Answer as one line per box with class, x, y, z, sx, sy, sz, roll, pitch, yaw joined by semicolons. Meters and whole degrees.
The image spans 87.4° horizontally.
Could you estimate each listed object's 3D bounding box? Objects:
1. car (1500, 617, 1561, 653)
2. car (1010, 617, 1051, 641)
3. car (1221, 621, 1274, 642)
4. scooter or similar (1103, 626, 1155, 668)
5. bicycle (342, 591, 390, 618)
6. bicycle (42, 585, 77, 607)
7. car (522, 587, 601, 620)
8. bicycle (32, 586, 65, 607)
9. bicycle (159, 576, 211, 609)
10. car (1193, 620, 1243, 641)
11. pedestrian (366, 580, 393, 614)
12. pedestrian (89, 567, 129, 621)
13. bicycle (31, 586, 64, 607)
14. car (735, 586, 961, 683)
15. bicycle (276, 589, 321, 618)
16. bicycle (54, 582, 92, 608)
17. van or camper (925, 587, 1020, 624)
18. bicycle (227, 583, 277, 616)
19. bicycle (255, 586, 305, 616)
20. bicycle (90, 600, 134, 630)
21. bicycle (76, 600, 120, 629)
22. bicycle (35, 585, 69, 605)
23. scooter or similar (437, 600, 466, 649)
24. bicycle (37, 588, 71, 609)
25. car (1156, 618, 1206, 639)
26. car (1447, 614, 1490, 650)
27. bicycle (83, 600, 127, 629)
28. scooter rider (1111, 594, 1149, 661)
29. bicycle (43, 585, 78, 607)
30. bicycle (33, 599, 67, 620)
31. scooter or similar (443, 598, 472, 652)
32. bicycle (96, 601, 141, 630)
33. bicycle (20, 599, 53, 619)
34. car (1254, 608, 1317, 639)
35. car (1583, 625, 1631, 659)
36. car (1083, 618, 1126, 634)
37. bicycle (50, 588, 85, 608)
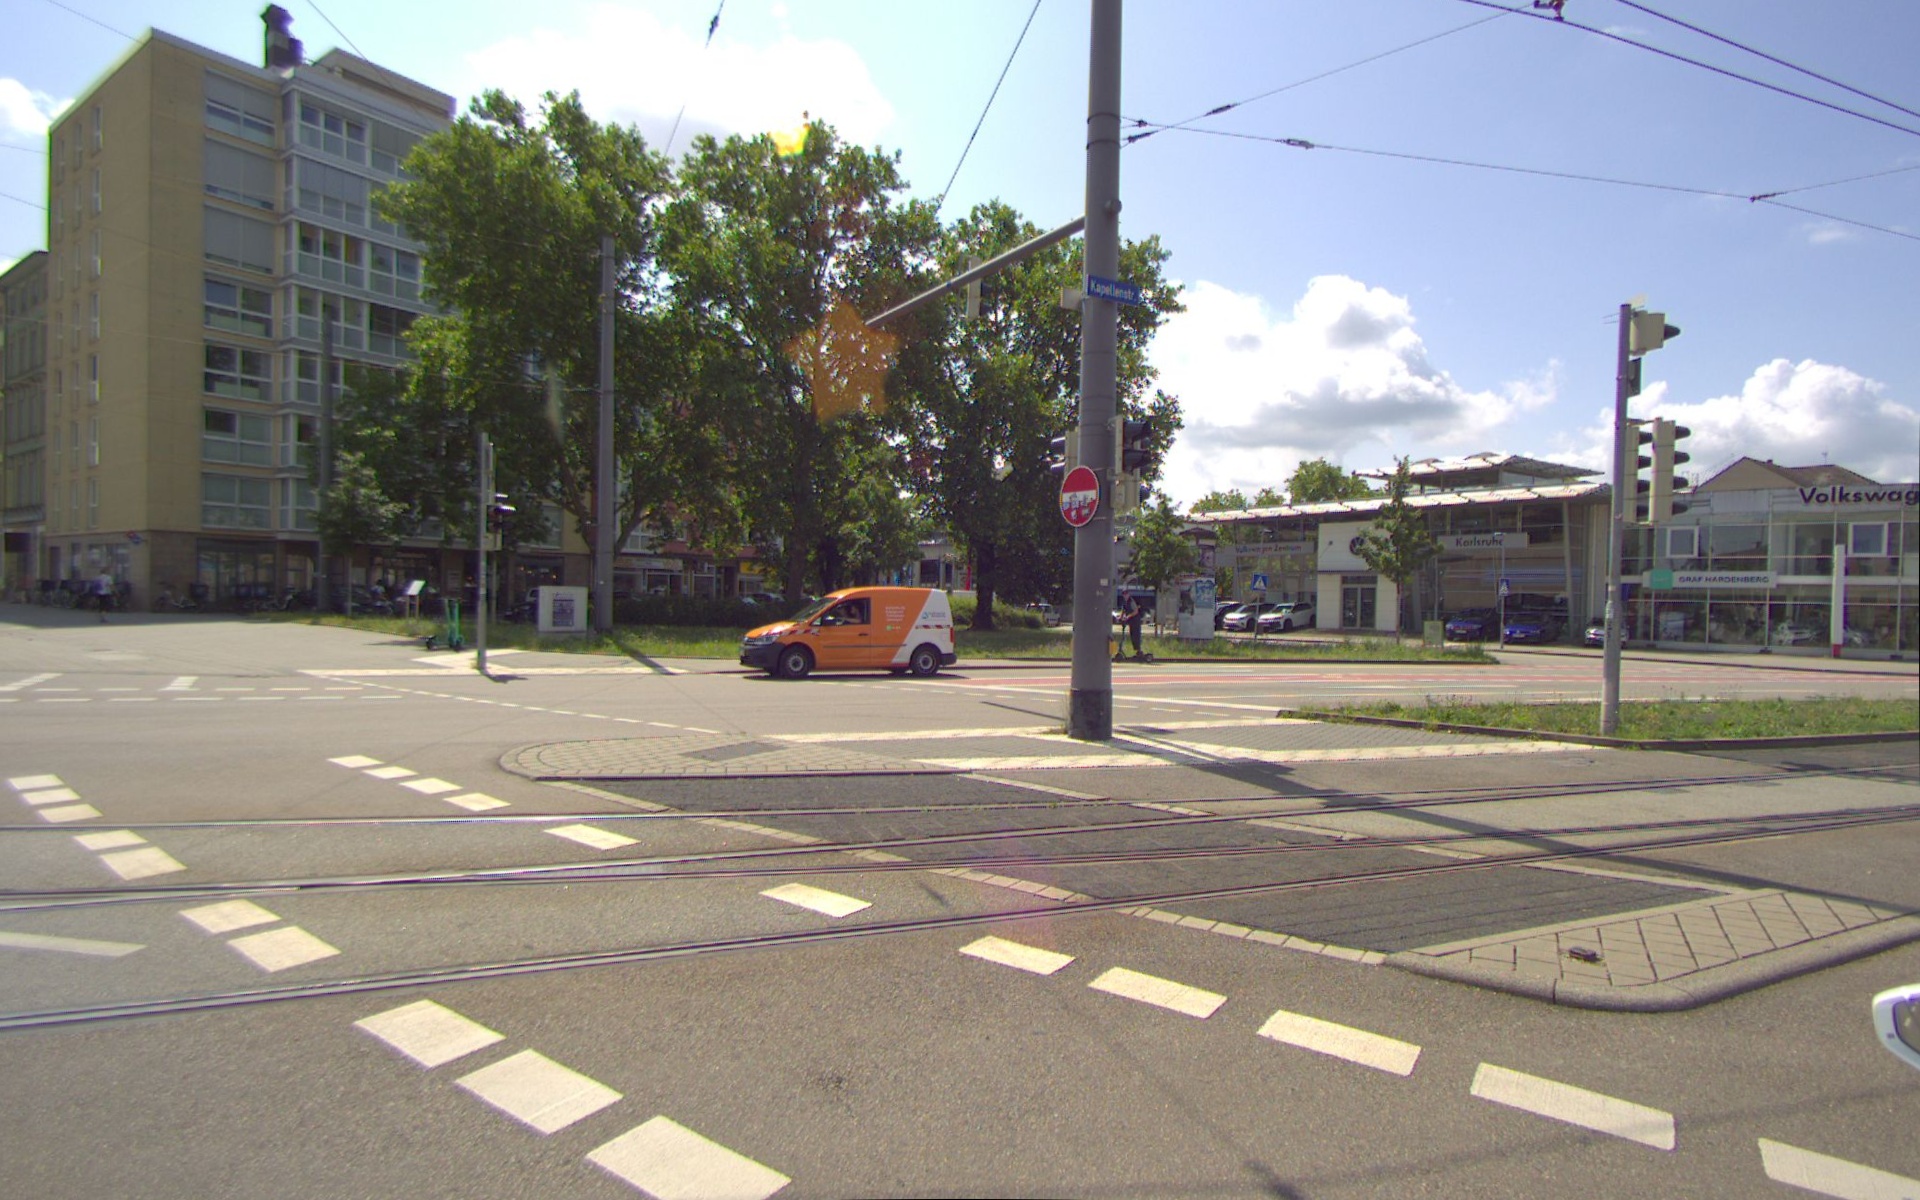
car;27.522;1.672;48.452;1.638;1.494;3.763;2;2;44
car;5.405;2.205;77.319;1.967;1.639;3.987;2;0;-15
car;18.047;1.993;63.003;3.612;1.262;1.539;2;0;-42
scooter or similar;4.448;1.236;26.485;1.077;1.046;0.802;2;0;-22
bicycle;-24.020;0.190;40.630;0.485;1.081;1.596;2;0;37
bicycle;-39.423;-0.154;43.983;0.372;0.950;1.062;1;0;33
car;-19.905;0.164;50.170;3.867;1.531;1.873;1;0;36
bicycle;-41.548;-0.158;45.805;0.372;0.950;1.063;1;0;32
bicycle;-31.672;-0.290;41.075;0.485;1.281;1.596;2;0;37
car;16.659;1.965;64.774;1.537;1.262;3.616;1;0;45
pedestrian;-23.331;-0.110;40.348;0.552;1.344;0.758;2;0;33
pedestrian;-25.622;-0.170;30.246;0.874;1.581;0.714;1;0;-45
bicycle;-42.112;-0.165;46.345;0.372;0.950;1.063;1;0;32
car;-2.240;0.687;20.197;4.183;1.789;1.760;1;-1;-24
bicycle;-29.281;0.157;44.465;0.485;1.281;1.596;2;0;37
bicycle;-37.223;-0.214;42.168;0.302;1.089;1.157;1;0;33
van or camper;0.941;0.431;72.916;6.612;2.533;2.555;2;0;-34
bicycle;-28.824;-0.012;40.913;0.485;1.281;1.596;2;0;37
bicycle;-27.681;0.053;40.887;0.485;1.183;1.596;2;0;37
bicycle;-34.037;0.602;40.308;0.451;1.161;1.270;1;0;33
bicycle;-35.337;0.589;41.176;0.451;1.161;1.270;1;0;33
bicycle;-40.881;-0.218;45.233;0.372;0.861;1.063;1;0;32
scooter or similar;-11.819;0.567;23.364;0.549;1.140;0.414;1;0;-23
bicycle;-40.542;-0.070;44.954;0.372;0.950;1.062;1;0;33
car;14.726;1.902;66.822;1.537;1.262;3.616;1;0;45
car;25.849;1.610;51.141;1.743;1.695;3.637;2;0;24
bicycle;-34.741;0.598;40.814;0.451;1.161;1.270;1;0;33
scooter rider;4.464;0.712;26.477;0.640;1.730;0.775;2;0;-22
bicycle;-38.773;-0.164;43.314;0.372;0.950;1.062;1;0;33
bicycle;-41.235;0.437;45.529;0.372;0.950;1.063;1;0;32
scooter or similar;-11.405;0.561;22.804;0.542;1.216;0.460;1;0;-23
bicycle;-33.422;0.612;39.903;0.451;1.161;1.270;1;0;33
bicycle;-43.220;0.430;47.030;0.372;0.950;1.063;1;0;32
car;19.745;1.434;60.922;3.828;1.798;1.683;2;0;-36
car;30.539;1.966;47.490;1.803;1.466;3.937;1;0;32
car;12.739;2.278;88.510;1.546;1.262;3.594;2;0;-42
bicycle;-37.696;-0.072;42.426;0.372;0.834;1.062;1;0;33
